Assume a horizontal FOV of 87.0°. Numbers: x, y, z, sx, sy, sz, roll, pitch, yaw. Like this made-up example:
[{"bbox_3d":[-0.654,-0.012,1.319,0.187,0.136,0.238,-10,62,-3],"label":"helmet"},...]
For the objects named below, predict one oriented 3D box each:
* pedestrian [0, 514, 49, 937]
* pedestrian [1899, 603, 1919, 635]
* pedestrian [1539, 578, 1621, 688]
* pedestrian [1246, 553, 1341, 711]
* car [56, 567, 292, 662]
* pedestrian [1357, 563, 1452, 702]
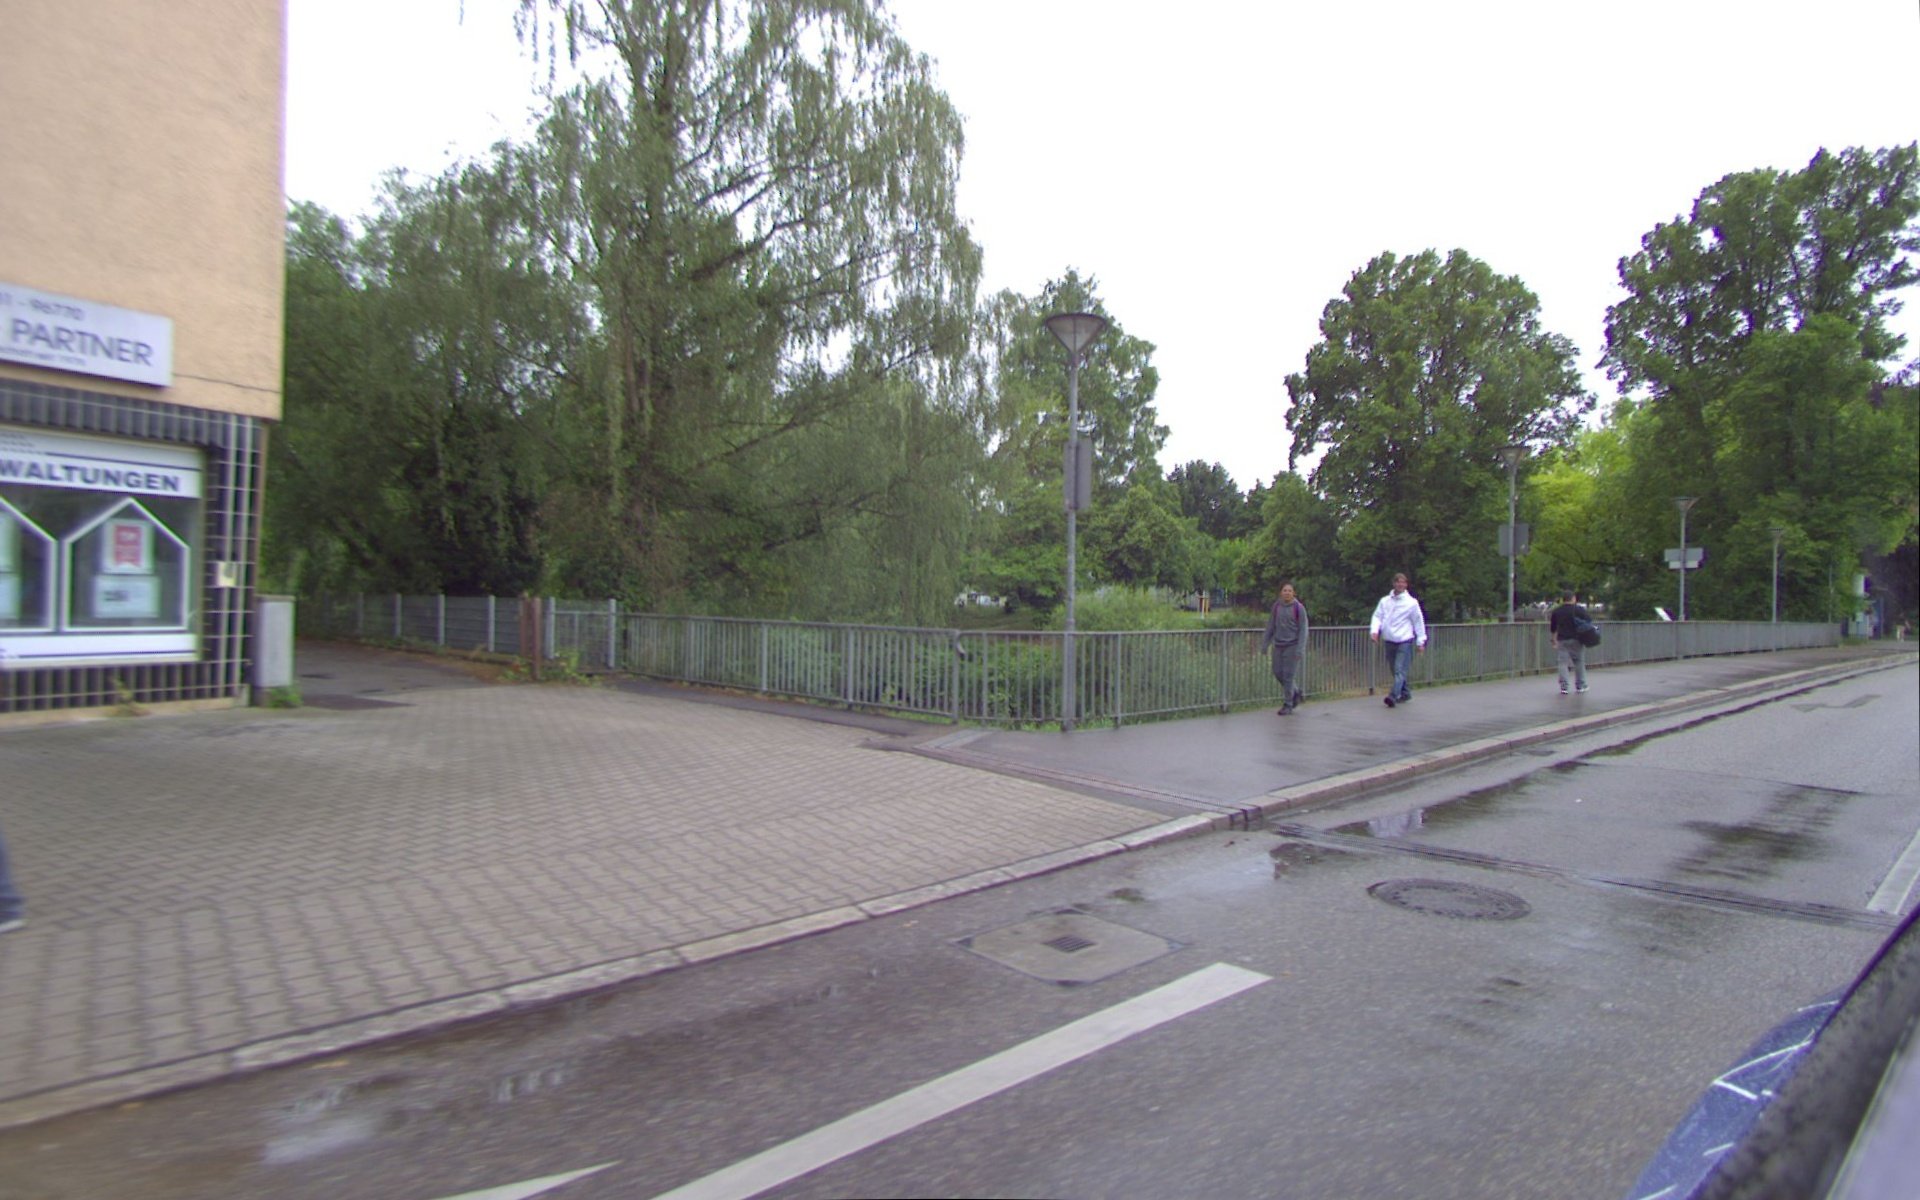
[{"bbox_3d":[-4.289,0.481,4.148,0.767,1.698,0.762,2,1,-41],"label":"pedestrian"},{"bbox_3d":[52.610,1.047,55.973,1.147,1.696,0.849,1,2,-42],"label":"pedestrian"},{"bbox_3d":[9.732,0.498,15.888,0.825,1.639,0.864,1,1,-41],"label":"pedestrian"},{"bbox_3d":[4.053,0.363,12.307,0.767,1.831,0.762,1,0,-41],"label":"pedestrian"},{"bbox_3d":[-13.532,0.221,17.365,4.421,1.394,1.795,2,-2,33],"label":"car"},{"bbox_3d":[5.946,0.412,13.526,1.042,1.774,0.781,1,0,-42],"label":"pedestrian"}]
